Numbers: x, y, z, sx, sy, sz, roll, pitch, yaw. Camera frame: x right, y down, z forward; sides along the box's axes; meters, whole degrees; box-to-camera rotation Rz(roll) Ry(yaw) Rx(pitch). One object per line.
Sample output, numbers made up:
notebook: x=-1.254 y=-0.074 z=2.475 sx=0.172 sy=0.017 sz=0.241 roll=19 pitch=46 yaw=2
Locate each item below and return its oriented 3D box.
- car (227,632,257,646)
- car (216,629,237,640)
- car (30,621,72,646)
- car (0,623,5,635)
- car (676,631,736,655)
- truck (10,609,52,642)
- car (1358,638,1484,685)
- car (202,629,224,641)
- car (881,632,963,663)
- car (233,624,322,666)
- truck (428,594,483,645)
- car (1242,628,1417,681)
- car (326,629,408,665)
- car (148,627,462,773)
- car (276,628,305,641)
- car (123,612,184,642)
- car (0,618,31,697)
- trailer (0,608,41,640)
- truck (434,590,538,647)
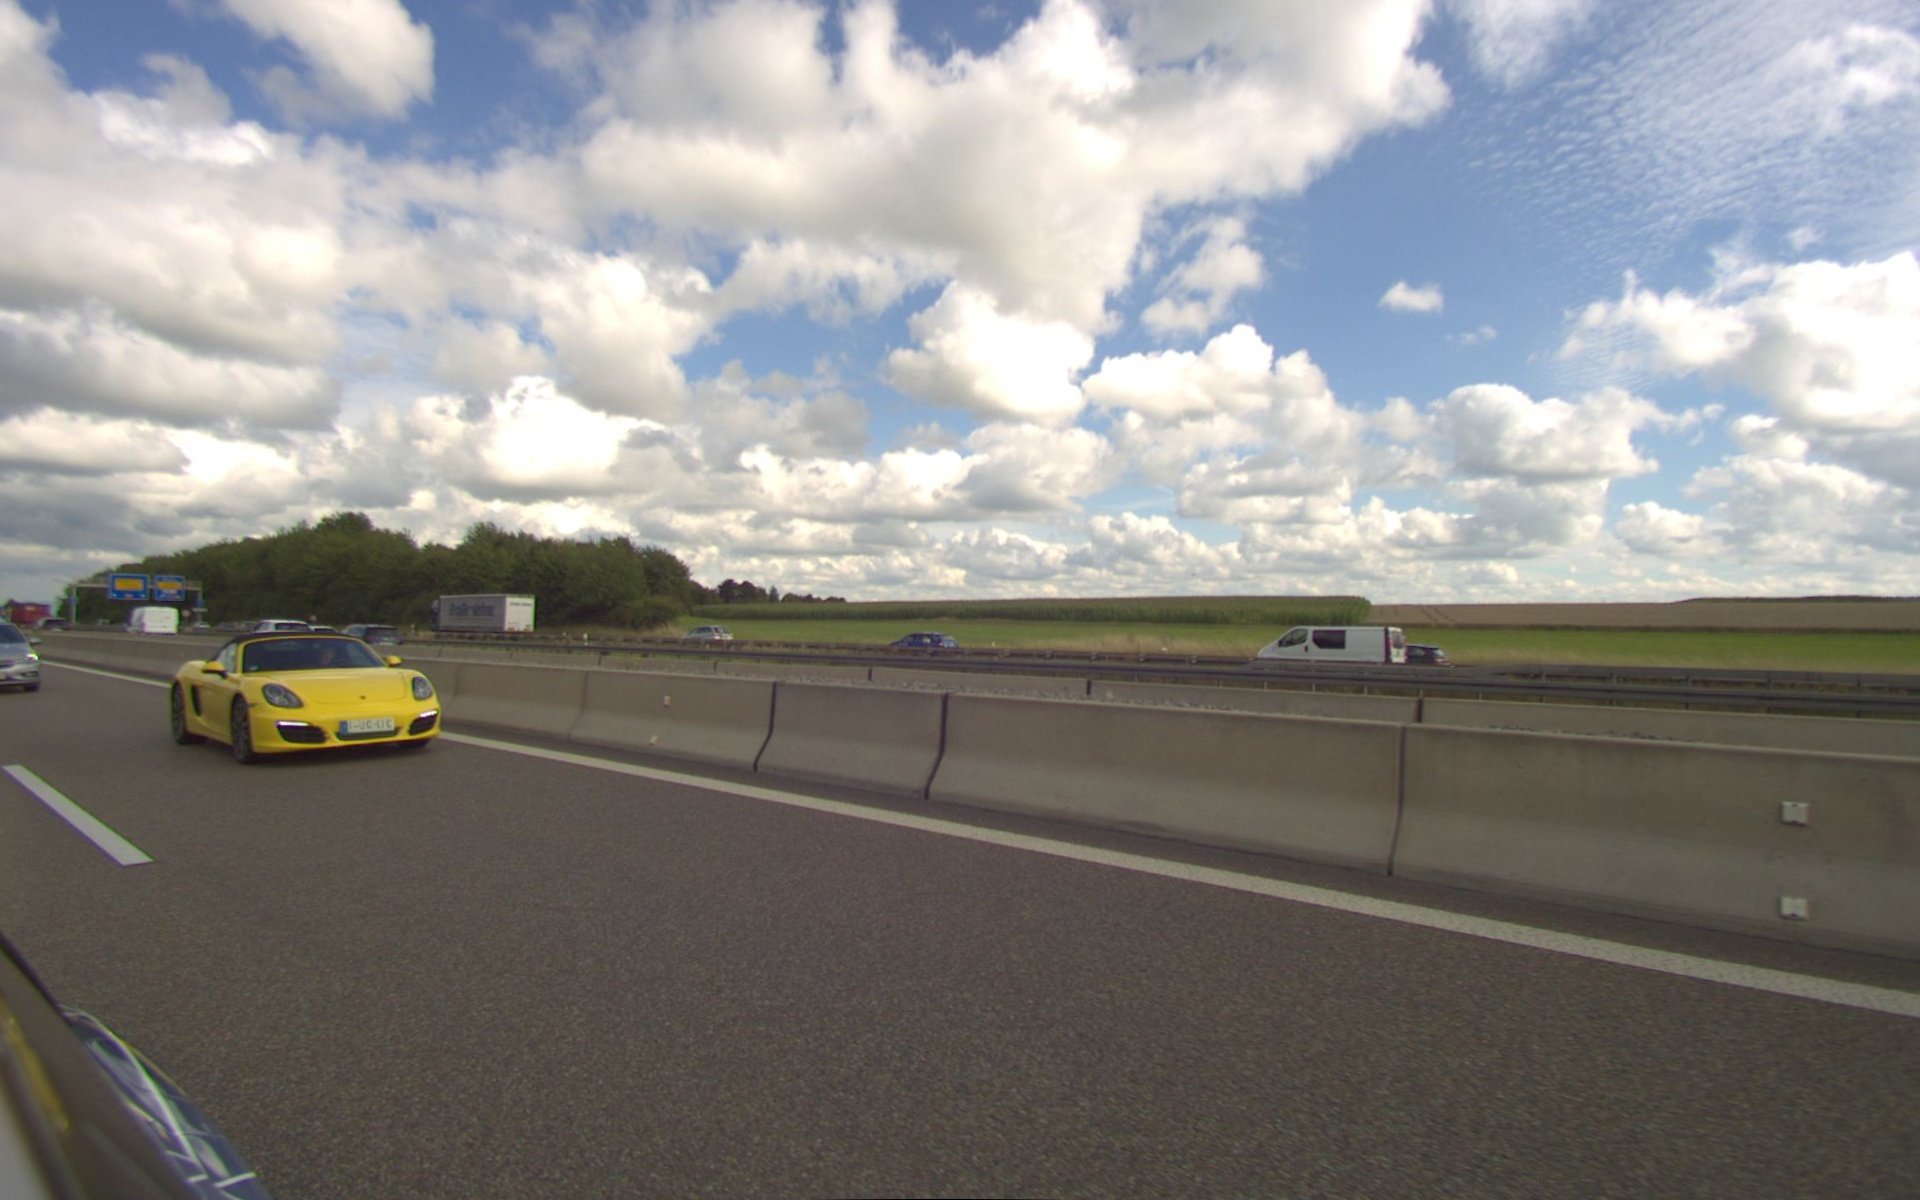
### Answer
car: x=-79.996 y=4.325 z=112.720 sx=4.517 sy=1.420 sz=1.697 roll=-1 pitch=-2 yaw=40
car: x=-106.569 y=4.983 z=147.087 sx=3.998 sy=1.567 sz=1.649 roll=-1 pitch=-1 yaw=41
car: x=-66.613 y=2.416 z=74.163 sx=4.700 sy=1.744 sz=1.745 roll=-1 pitch=-1 yaw=41
car: x=-121.257 y=3.607 z=126.802 sx=4.939 sy=1.543 sz=1.745 roll=-1 pitch=-2 yaw=40
car: x=-17.199 y=2.898 z=68.425 sx=4.449 sy=1.545 sz=1.711 roll=-1 pitch=-1 yaw=41
truck: x=-122.985 y=3.365 z=133.904 sx=8.583 sy=4.321 sz=3.015 roll=-1 pitch=-2 yaw=41
car: x=17.171 y=2.252 z=37.820 sx=3.998 sy=1.567 sz=1.649 roll=-1 pitch=-1 yaw=41
car: x=-104.506 y=4.921 z=141.503 sx=3.998 sy=1.567 sz=1.649 roll=-1 pitch=-1 yaw=41
car: x=-2.111 y=2.564 z=55.223 sx=4.605 sy=1.545 sz=1.711 roll=-1 pitch=-1 yaw=41
car: x=-26.450 y=1.693 z=39.166 sx=4.715 sy=1.543 sz=1.745 roll=-1 pitch=-2 yaw=41
truck: x=-47.562 y=1.831 z=95.415 sx=5.070 sy=4.694 sz=3.013 roll=-1 pitch=-2 yaw=42
car: x=13.244 y=1.897 z=36.530 sx=5.630 sy=1.713 sz=1.973 roll=-1 pitch=-1 yaw=40
car: x=-25.312 y=1.966 z=43.158 sx=4.488 sy=1.414 sz=1.620 roll=-1 pitch=-1 yaw=40
car: x=-7.421 y=0.991 z=11.303 sx=4.245 sy=1.325 sz=1.788 roll=-1 pitch=-4 yaw=41
car: x=-84.903 y=4.335 z=128.234 sx=4.801 sy=1.577 sz=1.729 roll=-1 pitch=-2 yaw=39
car: x=-55.339 y=1.849 z=69.397 sx=5.831 sy=1.982 sz=2.330 roll=-1 pitch=-2 yaw=42
car: x=-20.297 y=1.127 z=20.472 sx=4.613 sy=1.496 sz=1.666 roll=-1 pitch=-2 yaw=41
trailer: x=-129.907 y=3.282 z=139.874 sx=10.648 sy=4.321 sz=3.015 roll=-1 pitch=-2 yaw=41
truck: x=-42.901 y=1.651 z=91.199 sx=14.121 sy=4.839 sz=3.042 roll=-1 pitch=-2 yaw=41
